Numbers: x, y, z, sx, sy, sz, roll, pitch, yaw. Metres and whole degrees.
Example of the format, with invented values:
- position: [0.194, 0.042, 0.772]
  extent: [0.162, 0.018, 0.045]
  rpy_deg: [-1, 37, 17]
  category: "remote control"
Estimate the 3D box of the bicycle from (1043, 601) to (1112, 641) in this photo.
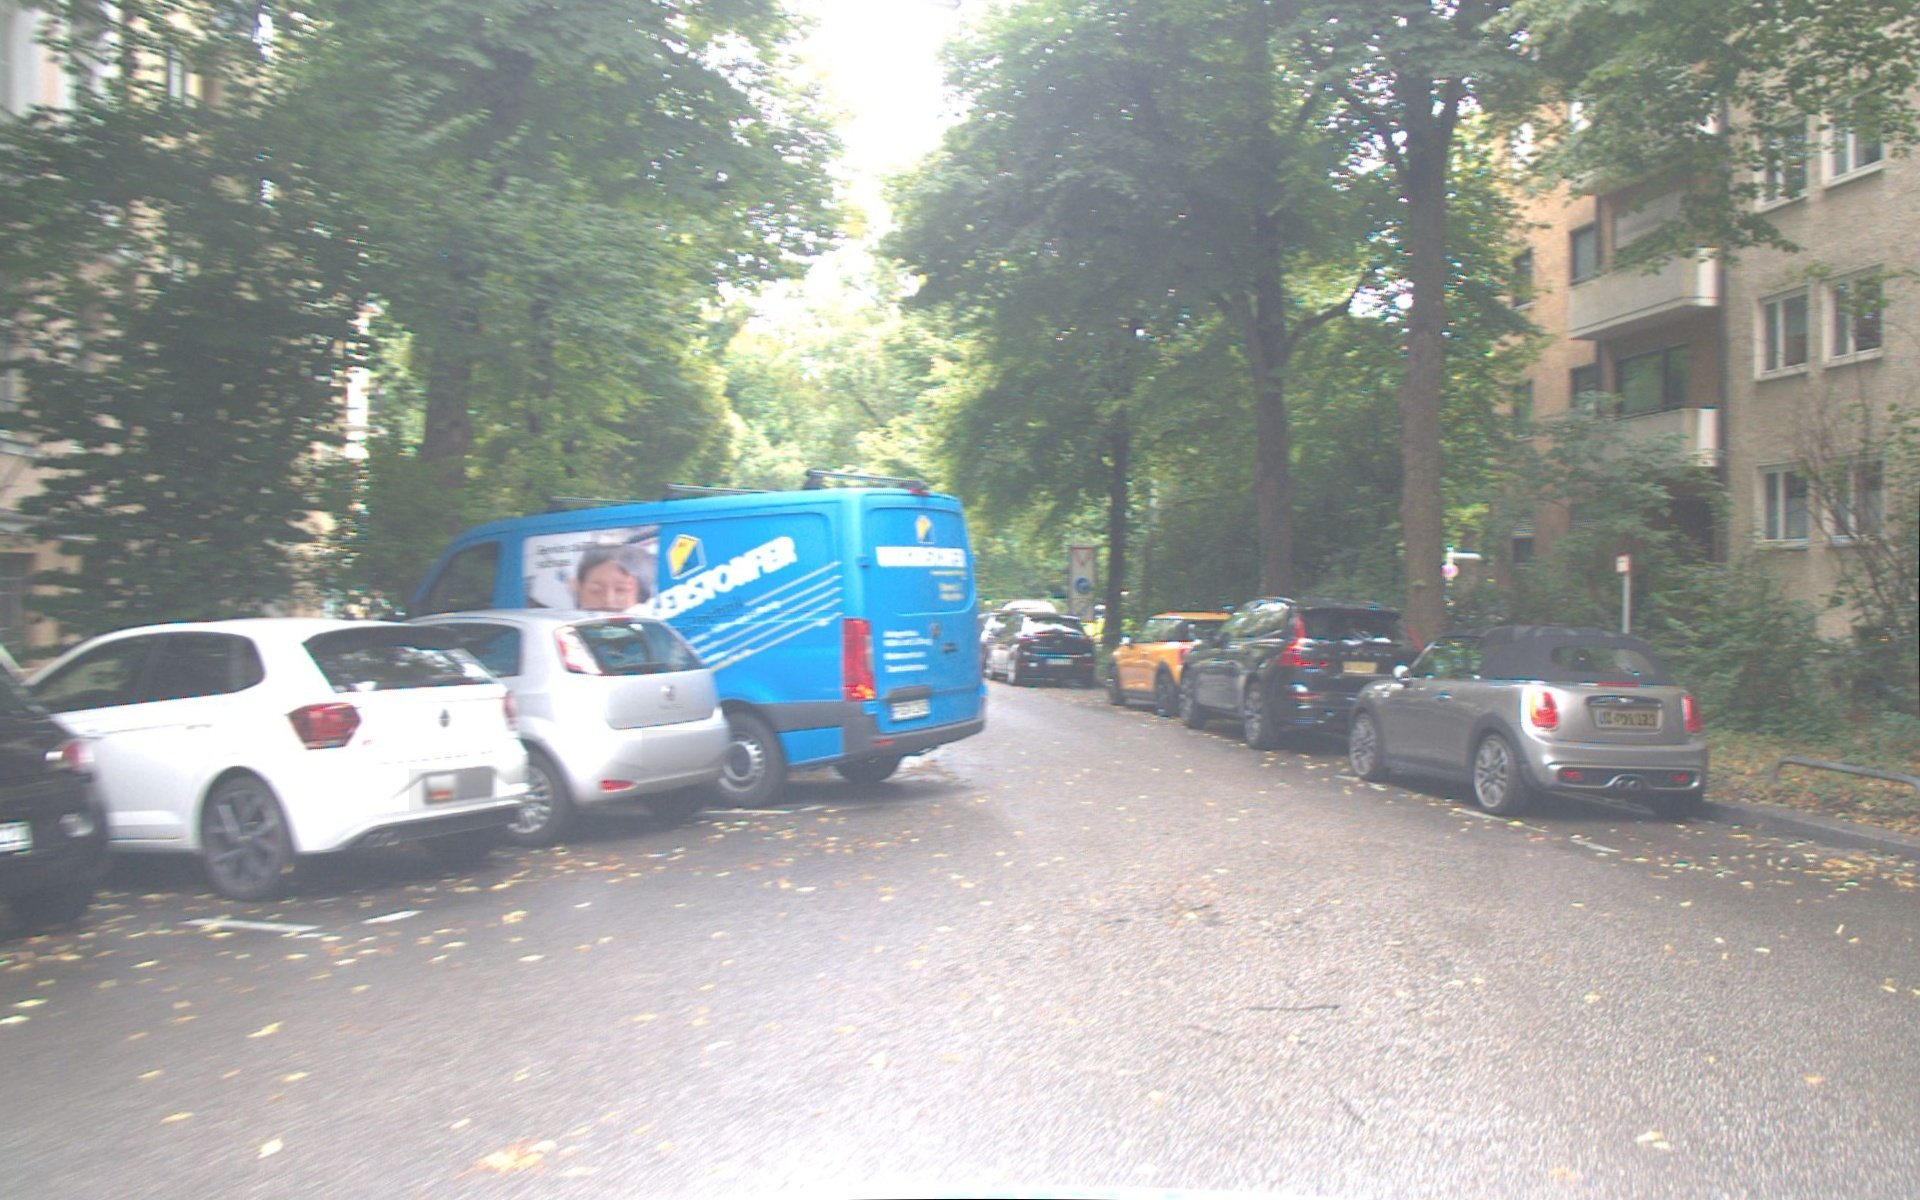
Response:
- position: [2.966, 0.520, 41.892]
  extent: [1.716, 0.999, 0.273]
  rpy_deg: [0, 0, 1]
  category: "bicycle"

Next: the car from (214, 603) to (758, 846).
- position: [-3.316, 0.792, 11.495]
  extent: [3.474, 1.458, 1.642]
  rpy_deg: [-2, -1, 28]
  category: "car"

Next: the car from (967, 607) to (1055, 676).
- position: [1.139, 0.923, 38.305]
  extent: [1.615, 1.500, 3.639]
  rpy_deg: [0, 0, -5]
  category: "car"

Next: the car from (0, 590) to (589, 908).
- position: [-4.462, 0.851, 9.761]
  extent: [4.188, 1.539, 1.802]
  rpy_deg: [-4, -2, 26]
  category: "car"

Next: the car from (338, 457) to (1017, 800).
- position: [-2.418, 0.304, 13.713]
  extent: [5.372, 2.395, 2.063]
  rpy_deg: [-3, -1, 28]
  category: "car"

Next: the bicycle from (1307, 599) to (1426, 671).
- position: [6.437, 0.541, 26.165]
  extent: [1.800, 1.102, 0.545]
  rpy_deg: [0, 0, -16]
  category: "bicycle"

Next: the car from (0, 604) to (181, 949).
- position: [-5.728, 0.870, 7.815]
  extent: [3.665, 1.450, 1.831]
  rpy_deg: [-4, -2, 28]
  category: "car"

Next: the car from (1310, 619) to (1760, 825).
- position: [4.721, 0.914, 14.388]
  extent: [1.863, 1.438, 4.421]
  rpy_deg: [-1, 0, -8]
  category: "car"

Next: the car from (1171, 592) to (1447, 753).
- position: [3.922, 0.741, 19.415]
  extent: [1.797, 1.657, 4.518]
  rpy_deg: [0, 0, -7]
  category: "car"

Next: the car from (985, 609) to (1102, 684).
- position: [1.649, 0.916, 34.086]
  extent: [1.650, 1.382, 4.001]
  rpy_deg: [1, 0, -8]
  category: "car"

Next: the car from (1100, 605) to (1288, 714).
- position: [3.358, 0.819, 24.401]
  extent: [1.589, 1.437, 3.769]
  rpy_deg: [0, 0, -11]
  category: "car"
